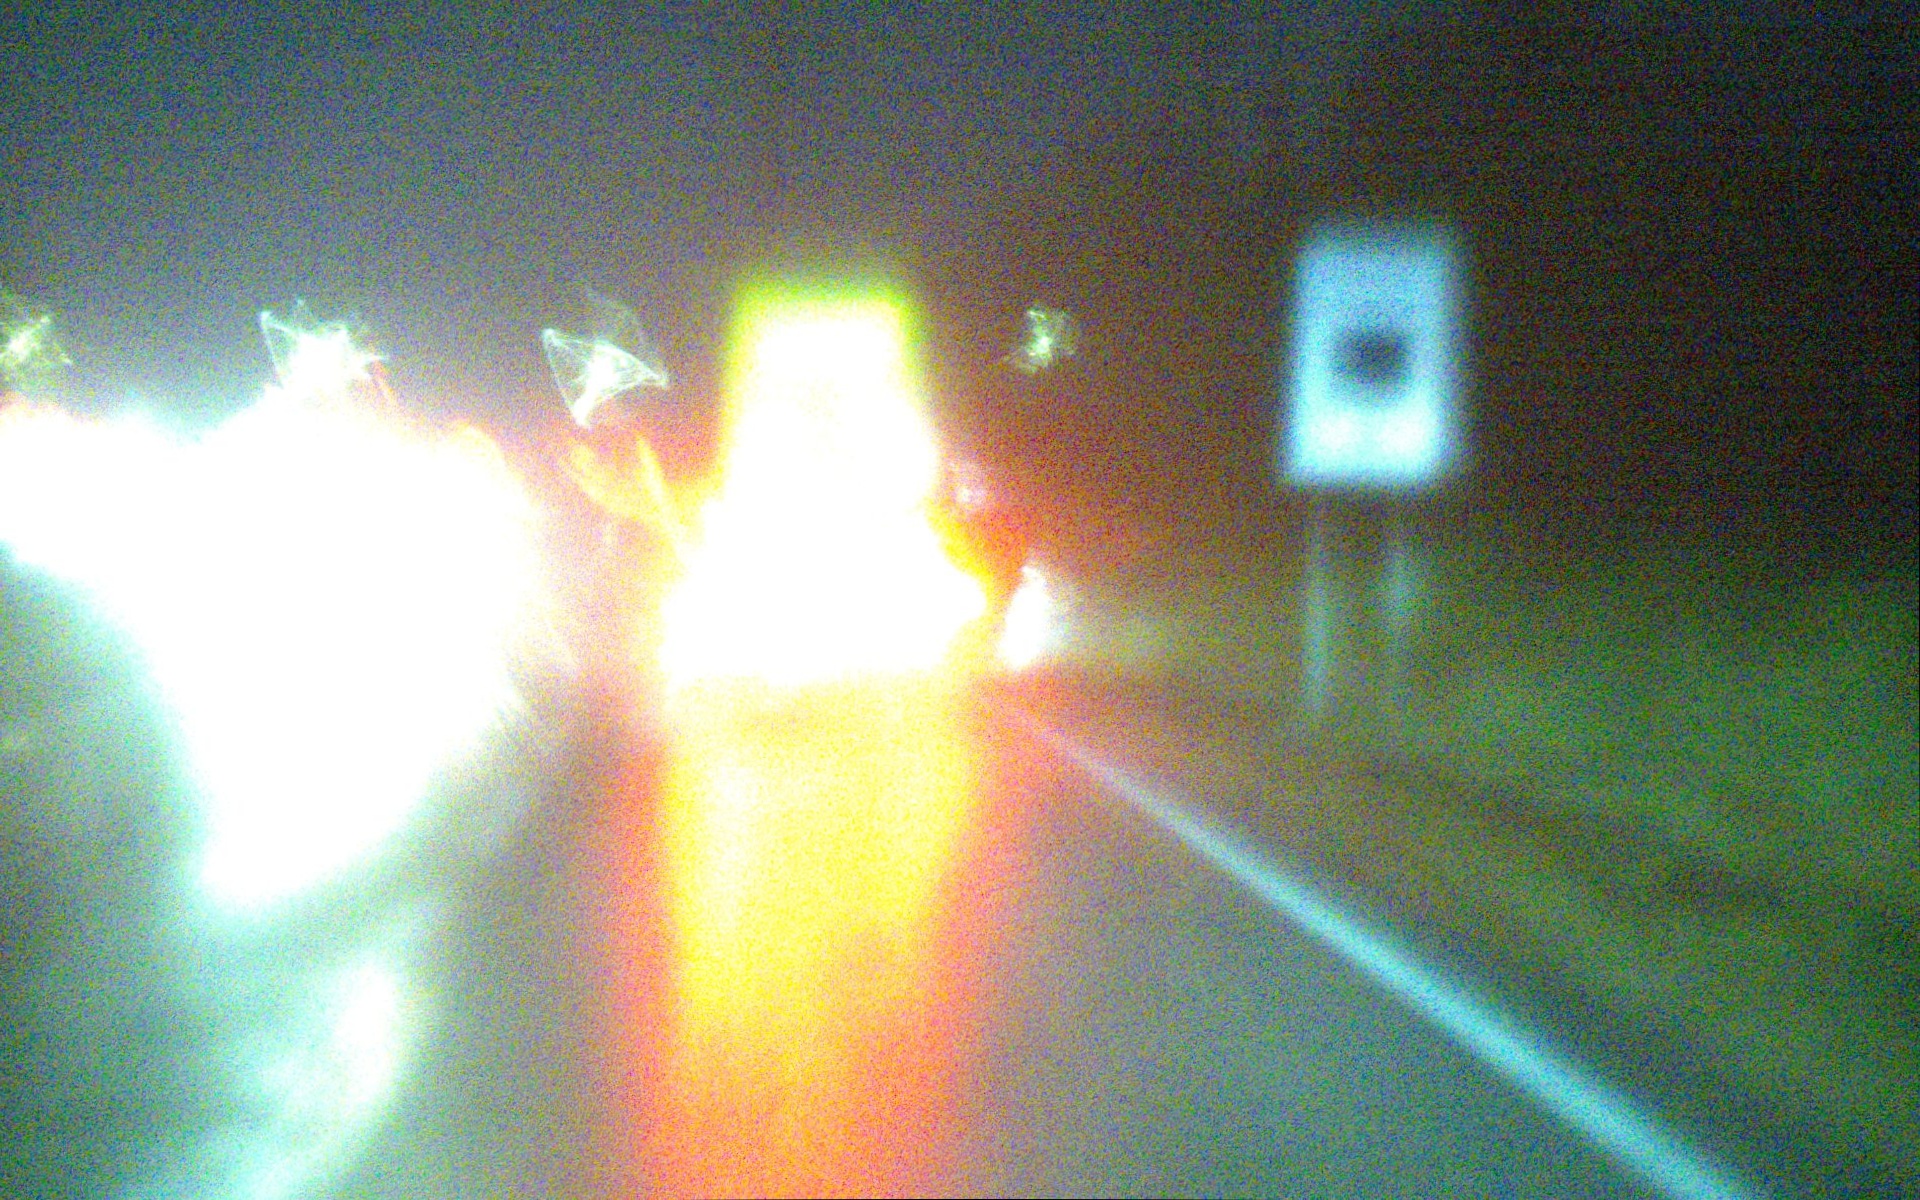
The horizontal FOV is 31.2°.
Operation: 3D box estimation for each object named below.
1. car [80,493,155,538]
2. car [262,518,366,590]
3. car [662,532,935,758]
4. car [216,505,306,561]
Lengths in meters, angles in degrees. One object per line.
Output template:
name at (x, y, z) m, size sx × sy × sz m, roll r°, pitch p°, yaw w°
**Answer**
car at (-26.807, -2.691, 109.324) m, size 1.771 × 1.384 × 4.234 m, roll 0°, pitch 1°, yaw -21°
car at (-13.801, -1.002, 73.281) m, size 1.771 × 1.478 × 4.382 m, roll 0°, pitch 1°, yaw -16°
car at (-1.309, 0.287, 27.868) m, size 1.993 × 1.622 × 4.985 m, roll 1°, pitch 1°, yaw -3°
car at (-17.880, -1.729, 87.772) m, size 1.771 × 1.384 × 4.114 m, roll 0°, pitch 1°, yaw -18°
